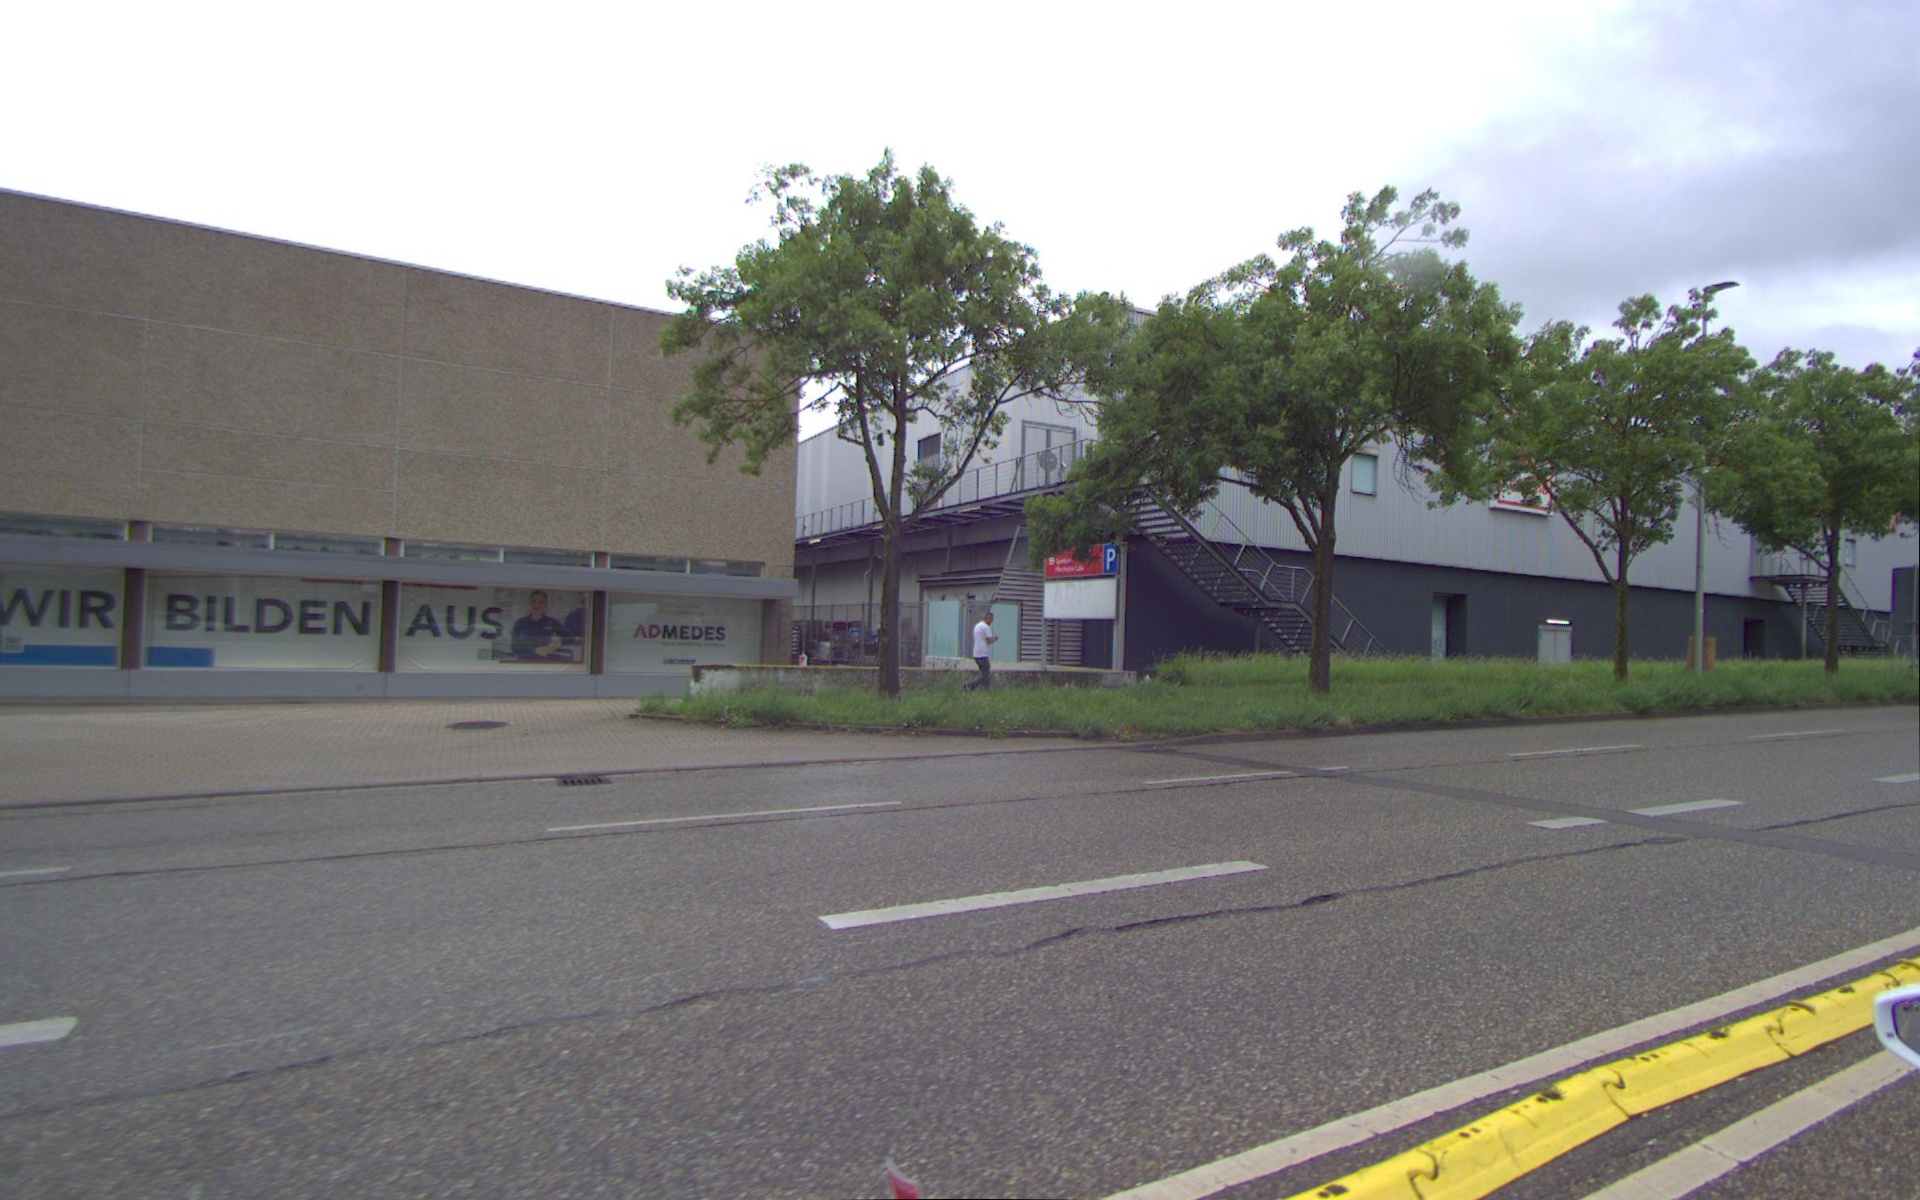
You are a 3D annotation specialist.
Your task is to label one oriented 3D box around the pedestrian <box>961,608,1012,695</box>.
[{"bbox_3d":[0.507,0.968,19.152,0.757,1.605,0.582,1,1,-27],"label":"pedestrian"}]
